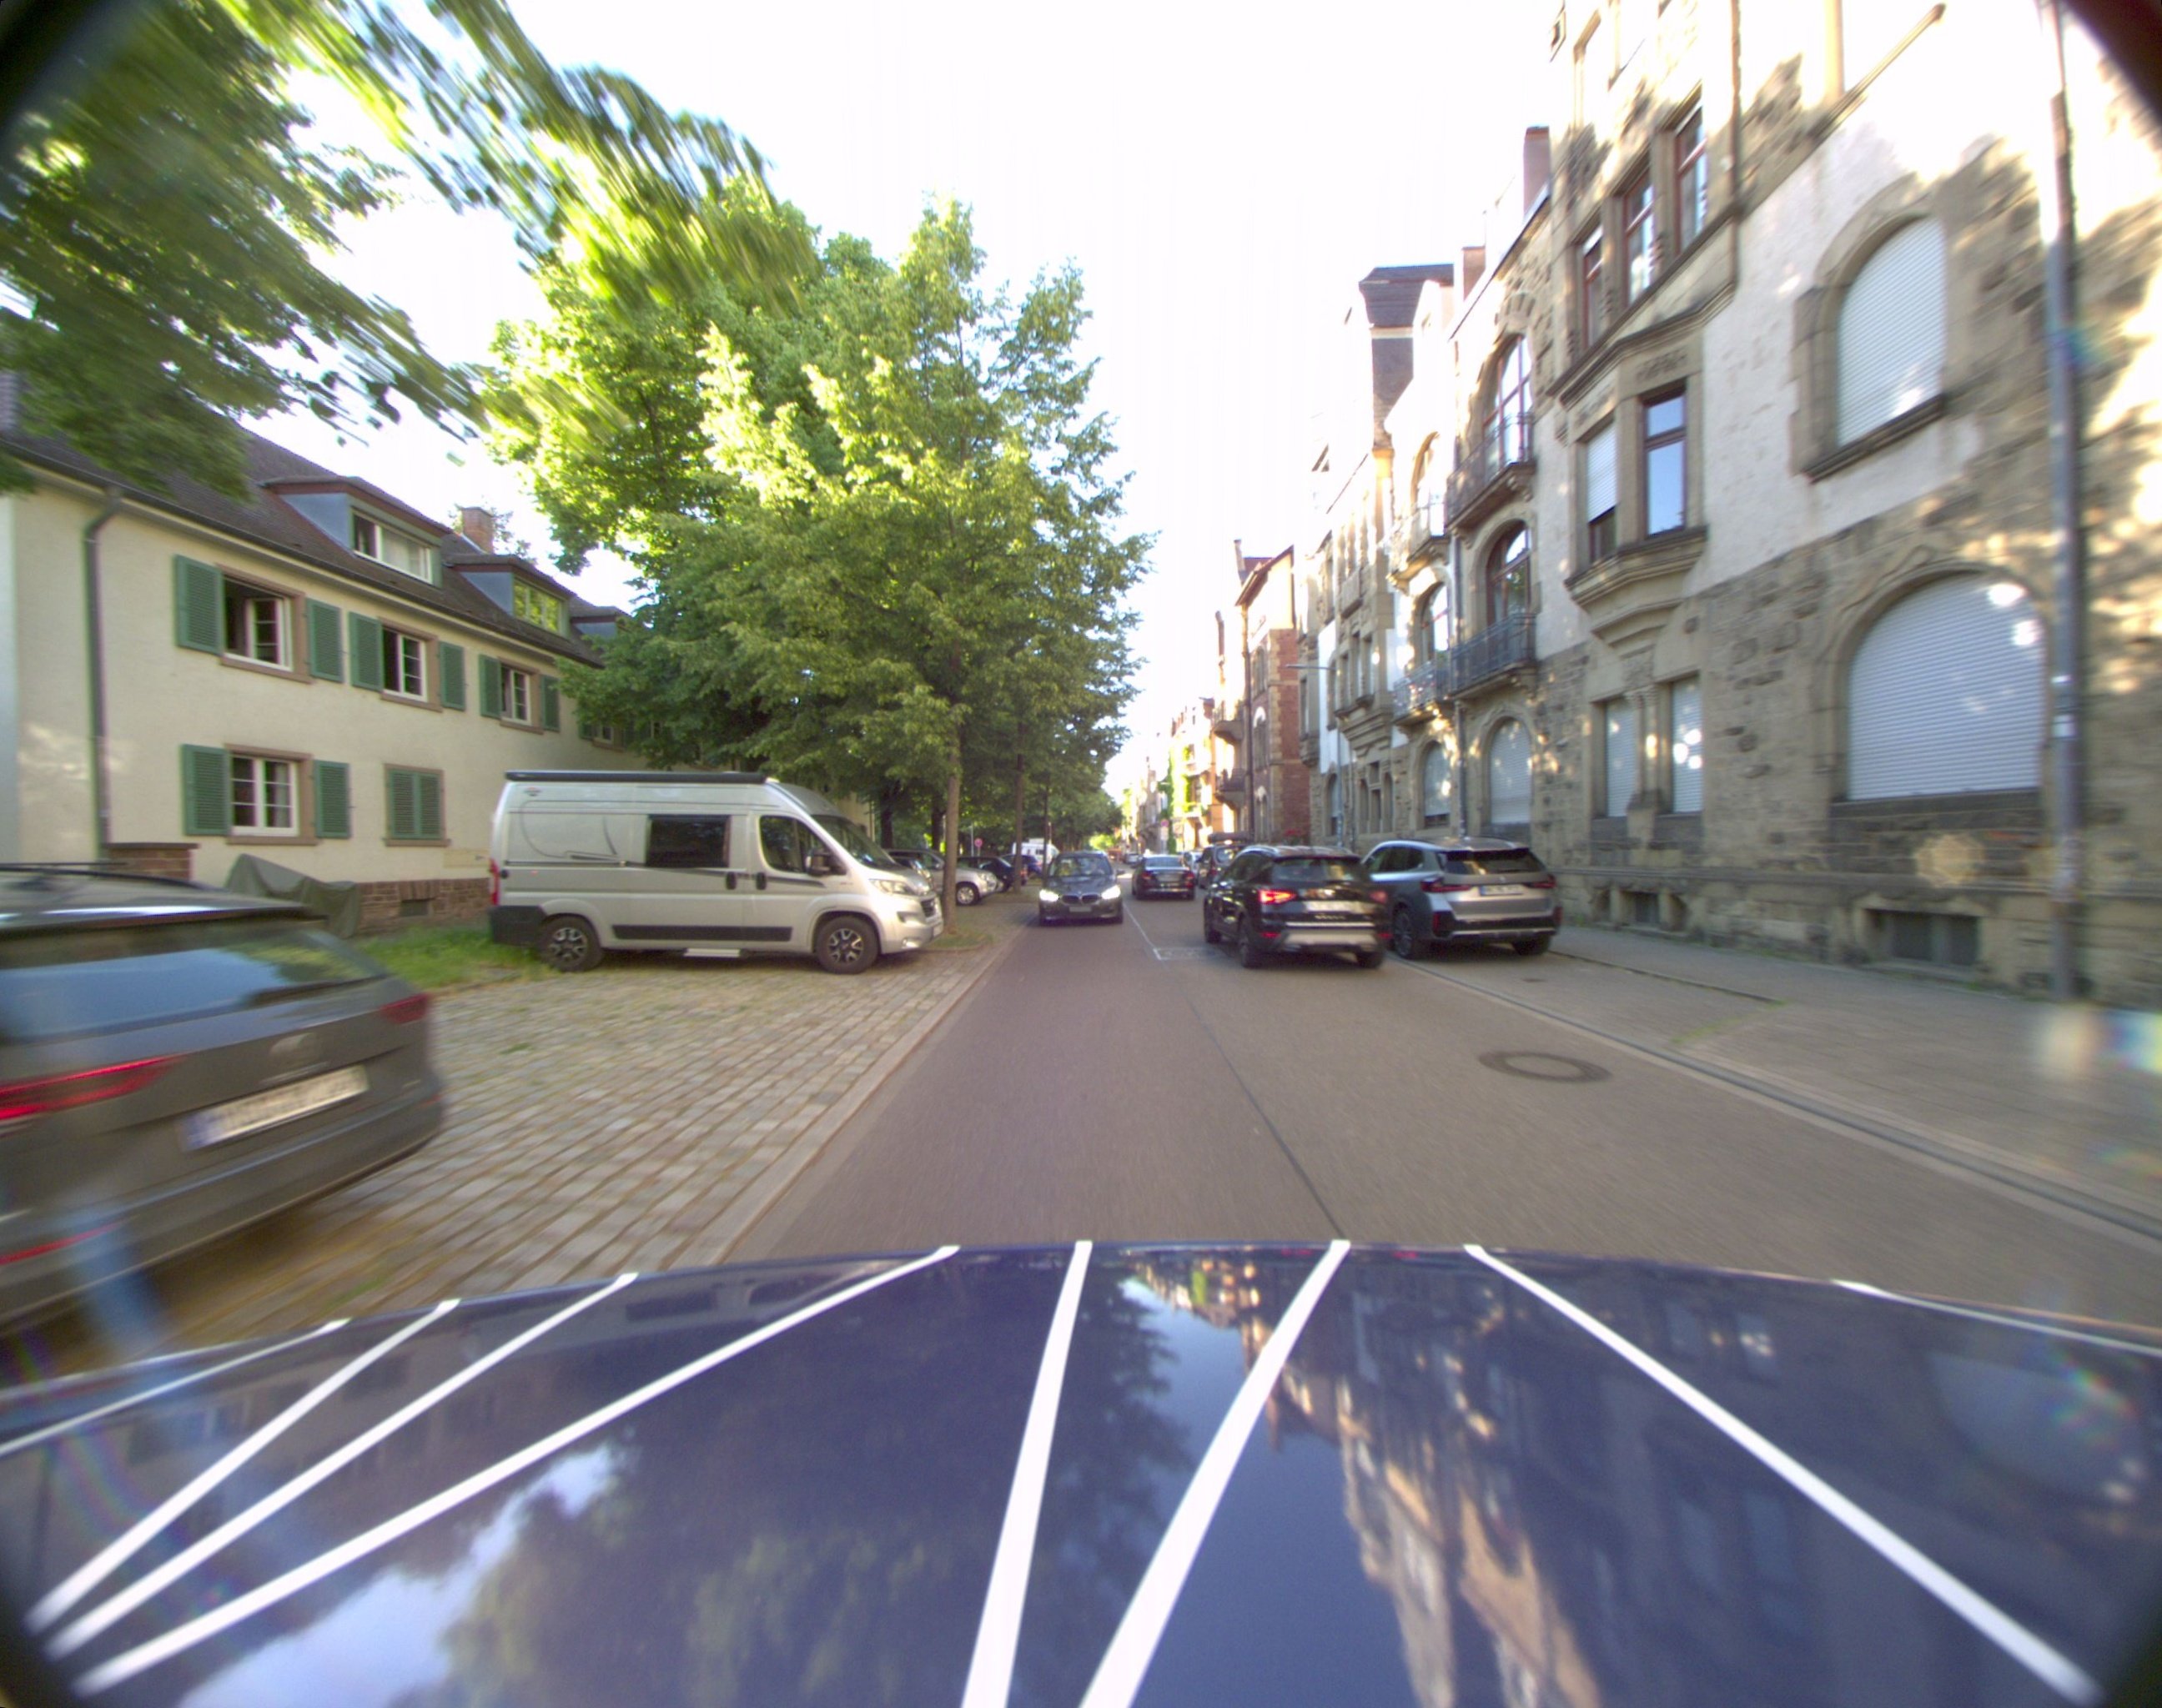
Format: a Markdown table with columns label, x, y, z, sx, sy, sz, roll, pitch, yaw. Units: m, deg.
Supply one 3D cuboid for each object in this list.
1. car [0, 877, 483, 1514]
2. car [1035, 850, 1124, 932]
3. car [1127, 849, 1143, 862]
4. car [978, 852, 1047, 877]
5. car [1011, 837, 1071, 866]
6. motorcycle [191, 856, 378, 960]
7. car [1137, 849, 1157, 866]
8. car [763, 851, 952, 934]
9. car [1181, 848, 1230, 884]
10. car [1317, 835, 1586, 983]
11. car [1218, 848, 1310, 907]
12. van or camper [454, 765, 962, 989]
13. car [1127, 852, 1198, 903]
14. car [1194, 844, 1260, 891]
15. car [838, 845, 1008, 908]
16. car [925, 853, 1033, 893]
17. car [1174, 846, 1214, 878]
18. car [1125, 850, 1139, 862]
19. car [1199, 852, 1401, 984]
| label | x | y | z | sx | sy | sz | roll | pitch | yaw |
| --- | --- | --- | --- | --- | --- | --- | --- | --- | --- |
| car | -4.857 | 0.816 | 2.396 | 4.486 | 1.427 | 1.828 | 2 | 1 | 1 |
| car | 0.031 | 0.750 | 17.610 | 1.753 | 1.596 | 4.550 | -2 | 0 | 2 |
| car | 6.901 | 0.182 | 97.273 | 1.710 | 1.496 | 3.629 | -4 | -1 | 2 |
| car | -4.056 | 0.612 | 45.238 | 3.998 | 1.504 | 1.572 | 0 | 1 | -3 |
| car | -3.695 | -0.246 | 70.917 | 5.448 | 2.646 | 2.134 | 0 | 1 | 1 |
| motorcycle | -12.192 | 0.769 | 11.747 | 0.660 | 1.398 | 2.016 | -2 | 1 | 1 |
| car | 6.497 | 0.351 | 75.141 | 1.686 | 1.496 | 3.629 | -4 | -1 | 2 |
| car | -4.464 | 0.732 | 15.528 | 3.260 | 1.454 | 1.824 | 2 | 1 | 1 |
| car | 5.682 | 0.549 | 35.101 | 1.633 | 1.439 | 3.856 | -4 | -1 | 2 |
| car | 5.096 | 0.650 | 11.237 | 1.881 | 1.707 | 4.339 | -2 | 0 | 1 |
| car | 5.417 | 0.627 | 23.007 | 1.774 | 1.493 | 4.211 | -1 | 2 | 1 |
| van or camper | -4.696 | 0.272 | 10.284 | 5.733 | 2.502 | 2.162 | 2 | 1 | 0 |
| car | 2.616 | 0.700 | 25.417 | 1.868 | 1.454 | 4.567 | -1 | 1 | 0 |
| car | 5.593 | 0.461 | 29.556 | 1.774 | 1.658 | 4.212 | -2 | 1 | 1 |
| car | -4.592 | 0.636 | 22.622 | 4.606 | 1.706 | 2.000 | 1 | 1 | -1 |
| car | -3.966 | 0.738 | 29.875 | 3.997 | 1.543 | 1.555 | 0 | 1 | 1 |
| car | 6.021 | 0.427 | 40.830 | 1.633 | 1.496 | 3.856 | -4 | -1 | 2 |
| car | 7.096 | 0.338 | 105.272 | 1.710 | 1.496 | 3.629 | -4 | -1 | 2 |
| car | 2.779 | 0.730 | 10.507 | 1.631 | 1.469 | 3.758 | 0 | 0 | -1 |
